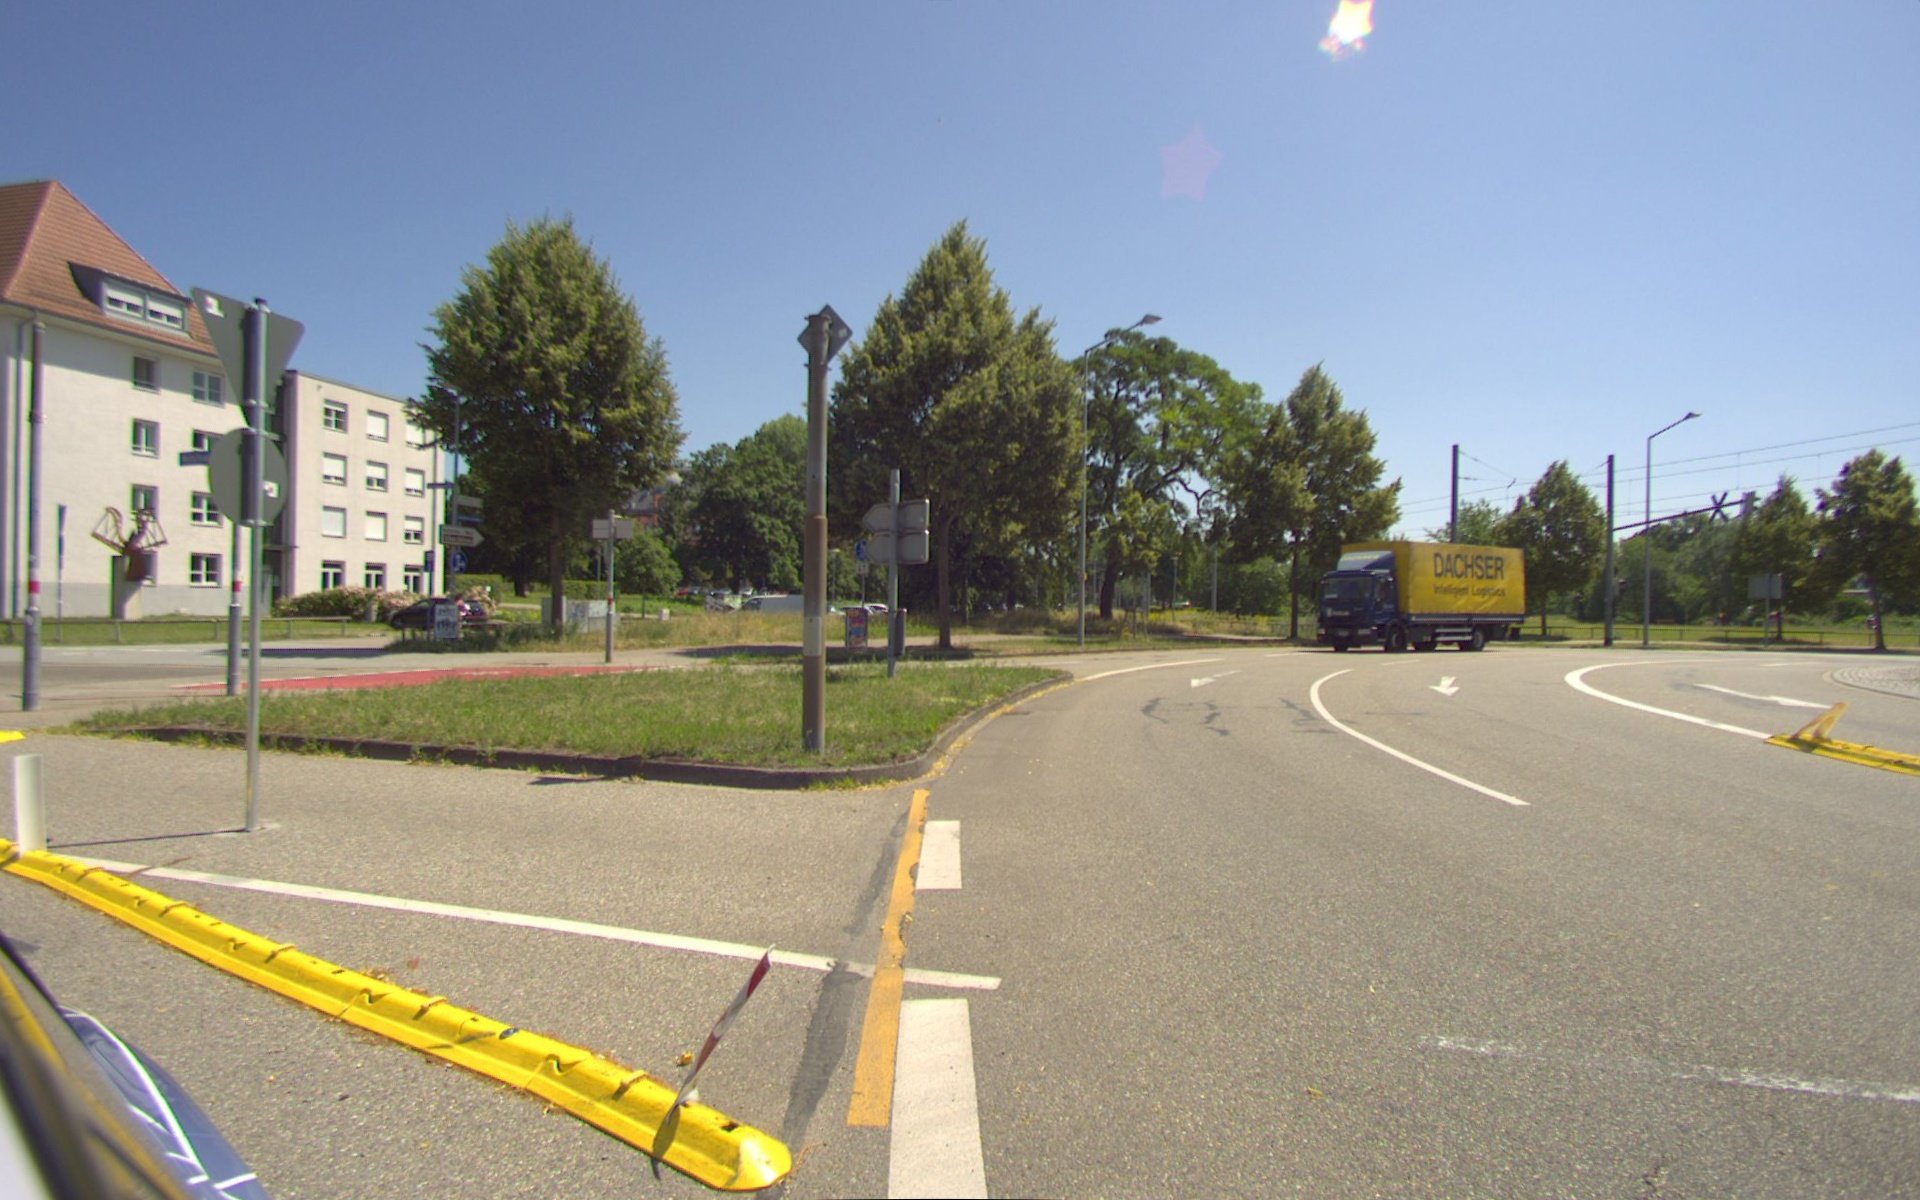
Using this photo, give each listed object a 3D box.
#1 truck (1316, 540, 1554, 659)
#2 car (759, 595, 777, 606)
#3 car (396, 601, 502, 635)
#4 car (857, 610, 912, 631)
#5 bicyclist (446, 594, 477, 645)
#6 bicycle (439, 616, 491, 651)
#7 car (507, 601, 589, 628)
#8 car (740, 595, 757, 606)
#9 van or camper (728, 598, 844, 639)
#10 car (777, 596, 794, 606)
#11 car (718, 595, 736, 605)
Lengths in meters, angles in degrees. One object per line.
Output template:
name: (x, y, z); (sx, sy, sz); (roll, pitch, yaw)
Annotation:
truck: (16.558, 0.041, 34.924); (9.452, 3.686, 2.715); (1, 0, -32)
car: (-26.457, 0.095, 139.467); (1.462, 1.427, 3.021); (1, 0, 7)
car: (-21.307, 0.754, 42.246); (3.769, 1.336, 1.653); (1, 0, 13)
car: (-4.930, 1.304, 66.095); (3.357, 1.291, 1.348); (1, 0, 20)
bicyclist: (-16.437, 0.645, 33.383); (0.638, 1.676, 0.708); (0, -1, 8)
bicycle: (-16.364, 1.083, 33.483); (0.434, 1.066, 2.083); (-2, 0, 8)
car: (-19.494, 0.680, 47.909); (3.478, 1.226, 1.351); (1, 0, 13)
car: (-29.277, 0.048, 140.132); (1.462, 1.427, 3.021); (1, 0, 7)
van or camper: (-8.493, 0.875, 49.460); (5.218, 1.871, 1.992); (1, 0, 12)
car: (-23.990, 0.122, 139.089); (1.462, 1.427, 3.021); (1, 0, 7)
car: (-32.212, 0.023, 140.060); (1.462, 1.427, 3.021); (1, 0, 7)
